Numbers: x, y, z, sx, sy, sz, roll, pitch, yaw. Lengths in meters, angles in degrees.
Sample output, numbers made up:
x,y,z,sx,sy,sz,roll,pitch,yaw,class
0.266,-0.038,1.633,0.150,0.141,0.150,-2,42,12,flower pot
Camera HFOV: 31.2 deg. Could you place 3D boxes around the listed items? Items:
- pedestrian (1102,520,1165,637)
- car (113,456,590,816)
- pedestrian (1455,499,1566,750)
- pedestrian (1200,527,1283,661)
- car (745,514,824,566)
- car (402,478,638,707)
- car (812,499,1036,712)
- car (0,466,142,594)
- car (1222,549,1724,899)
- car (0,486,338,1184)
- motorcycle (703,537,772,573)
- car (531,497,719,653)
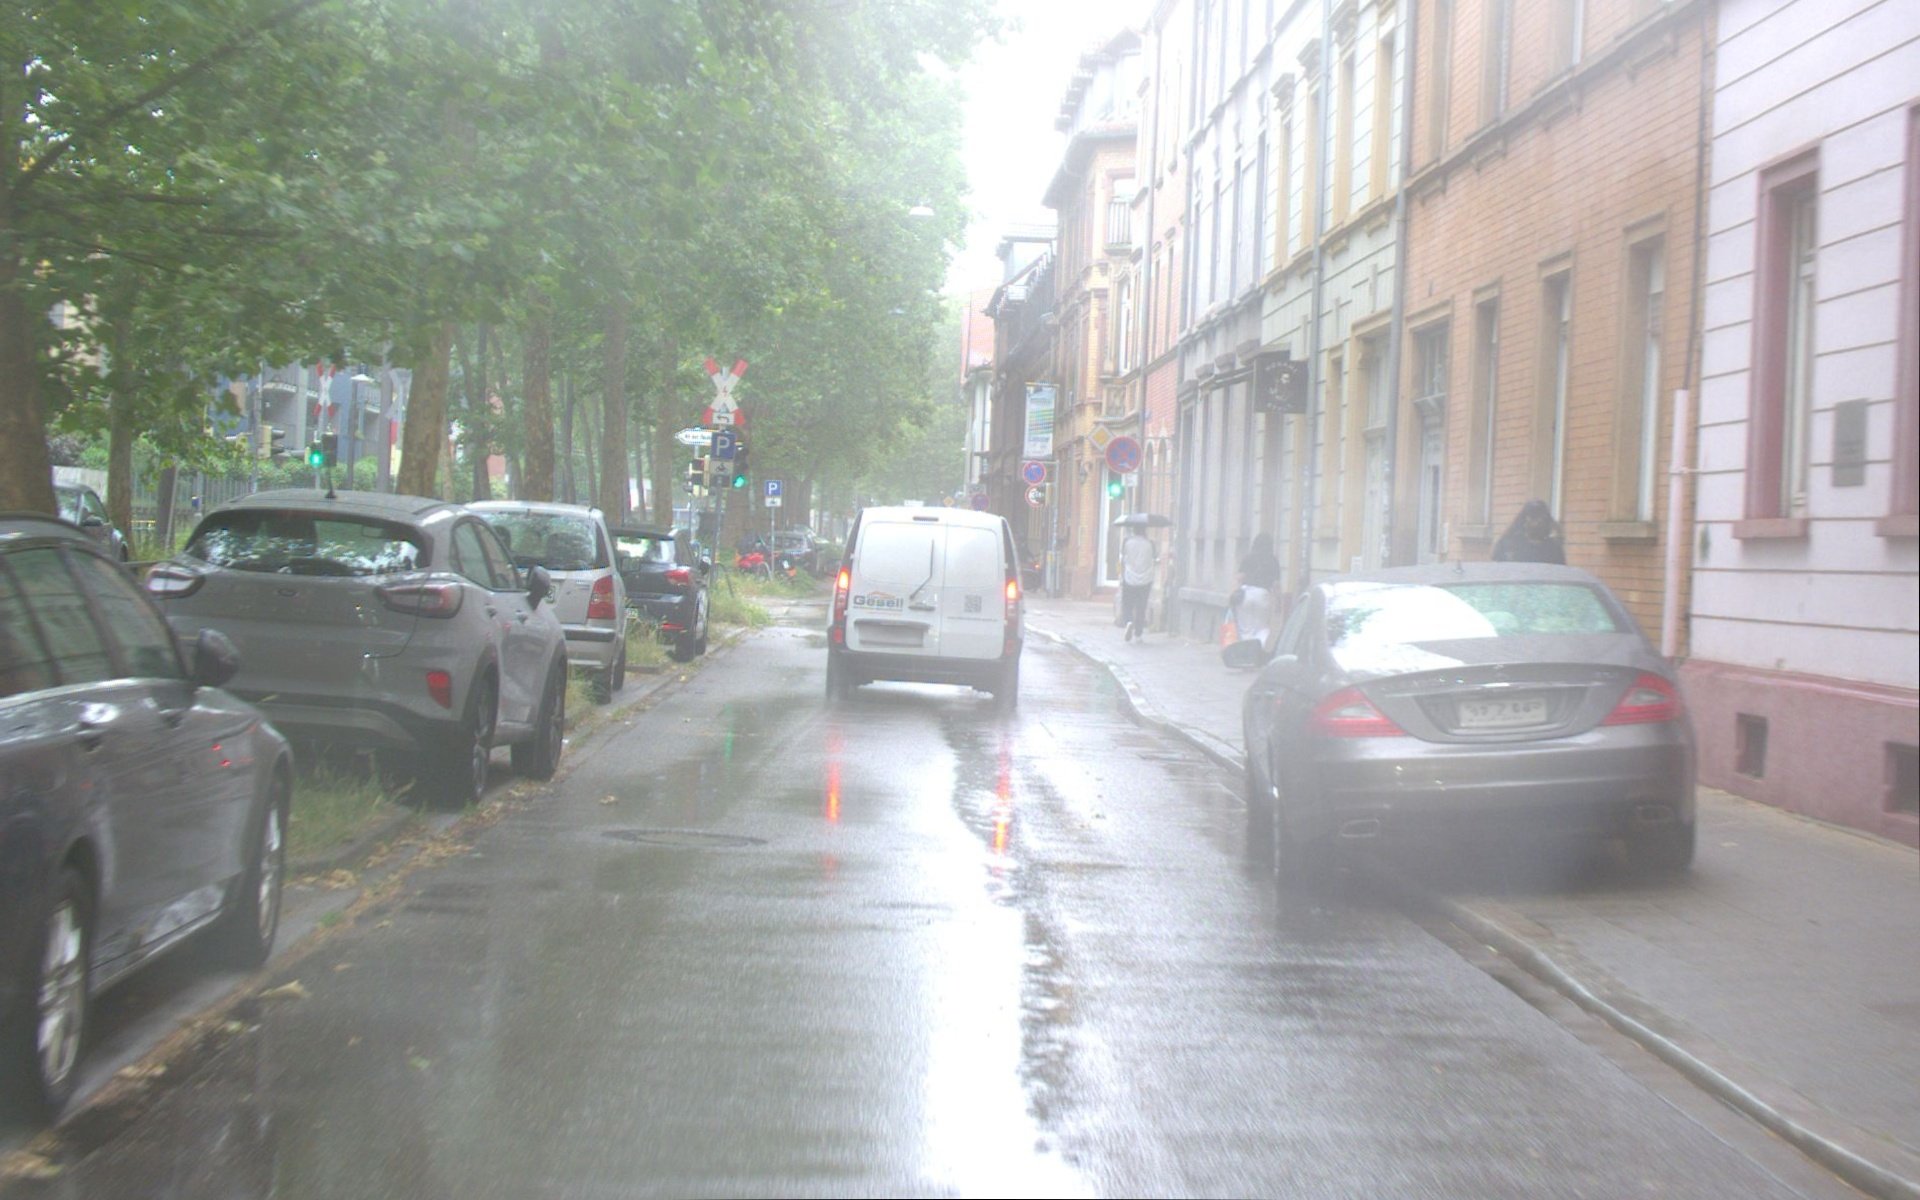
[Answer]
x,y,z,sx,sy,sz,roll,pitch,yaw,class
2.573,-0.333,51.063,0.840,1.710,1.108,-1,1,-1,pedestrian
-3.105,0.136,18.396,1.698,1.630,4.355,2,1,0,car
3.746,0.158,23.421,0.638,1.679,0.603,0,1,-2,pedestrian
3.231,-0.079,39.476,0.840,1.506,1.108,0,1,-1,pedestrian
-5.002,-1.727,98.467,1.993,1.382,4.000,3,1,0,car
-3.557,-0.116,28.314,1.623,1.676,3.660,3,2,-4,car
-0.344,0.053,32.383,1.903,1.791,4.113,3,0,-1,car
-12.456,-0.968,46.268,1.993,1.607,4.001,3,1,-2,car
2.290,0.476,16.510,1.814,1.416,4.697,-1,1,2,car
-3.002,0.422,9.397,1.828,1.498,4.614,4,1,-2,car
-5.801,-1.174,89.566,1.706,0.862,0.577,3,1,4,motorcycle
-3.607,-0.285,37.602,1.649,1.495,4.119,4,1,-2,car
